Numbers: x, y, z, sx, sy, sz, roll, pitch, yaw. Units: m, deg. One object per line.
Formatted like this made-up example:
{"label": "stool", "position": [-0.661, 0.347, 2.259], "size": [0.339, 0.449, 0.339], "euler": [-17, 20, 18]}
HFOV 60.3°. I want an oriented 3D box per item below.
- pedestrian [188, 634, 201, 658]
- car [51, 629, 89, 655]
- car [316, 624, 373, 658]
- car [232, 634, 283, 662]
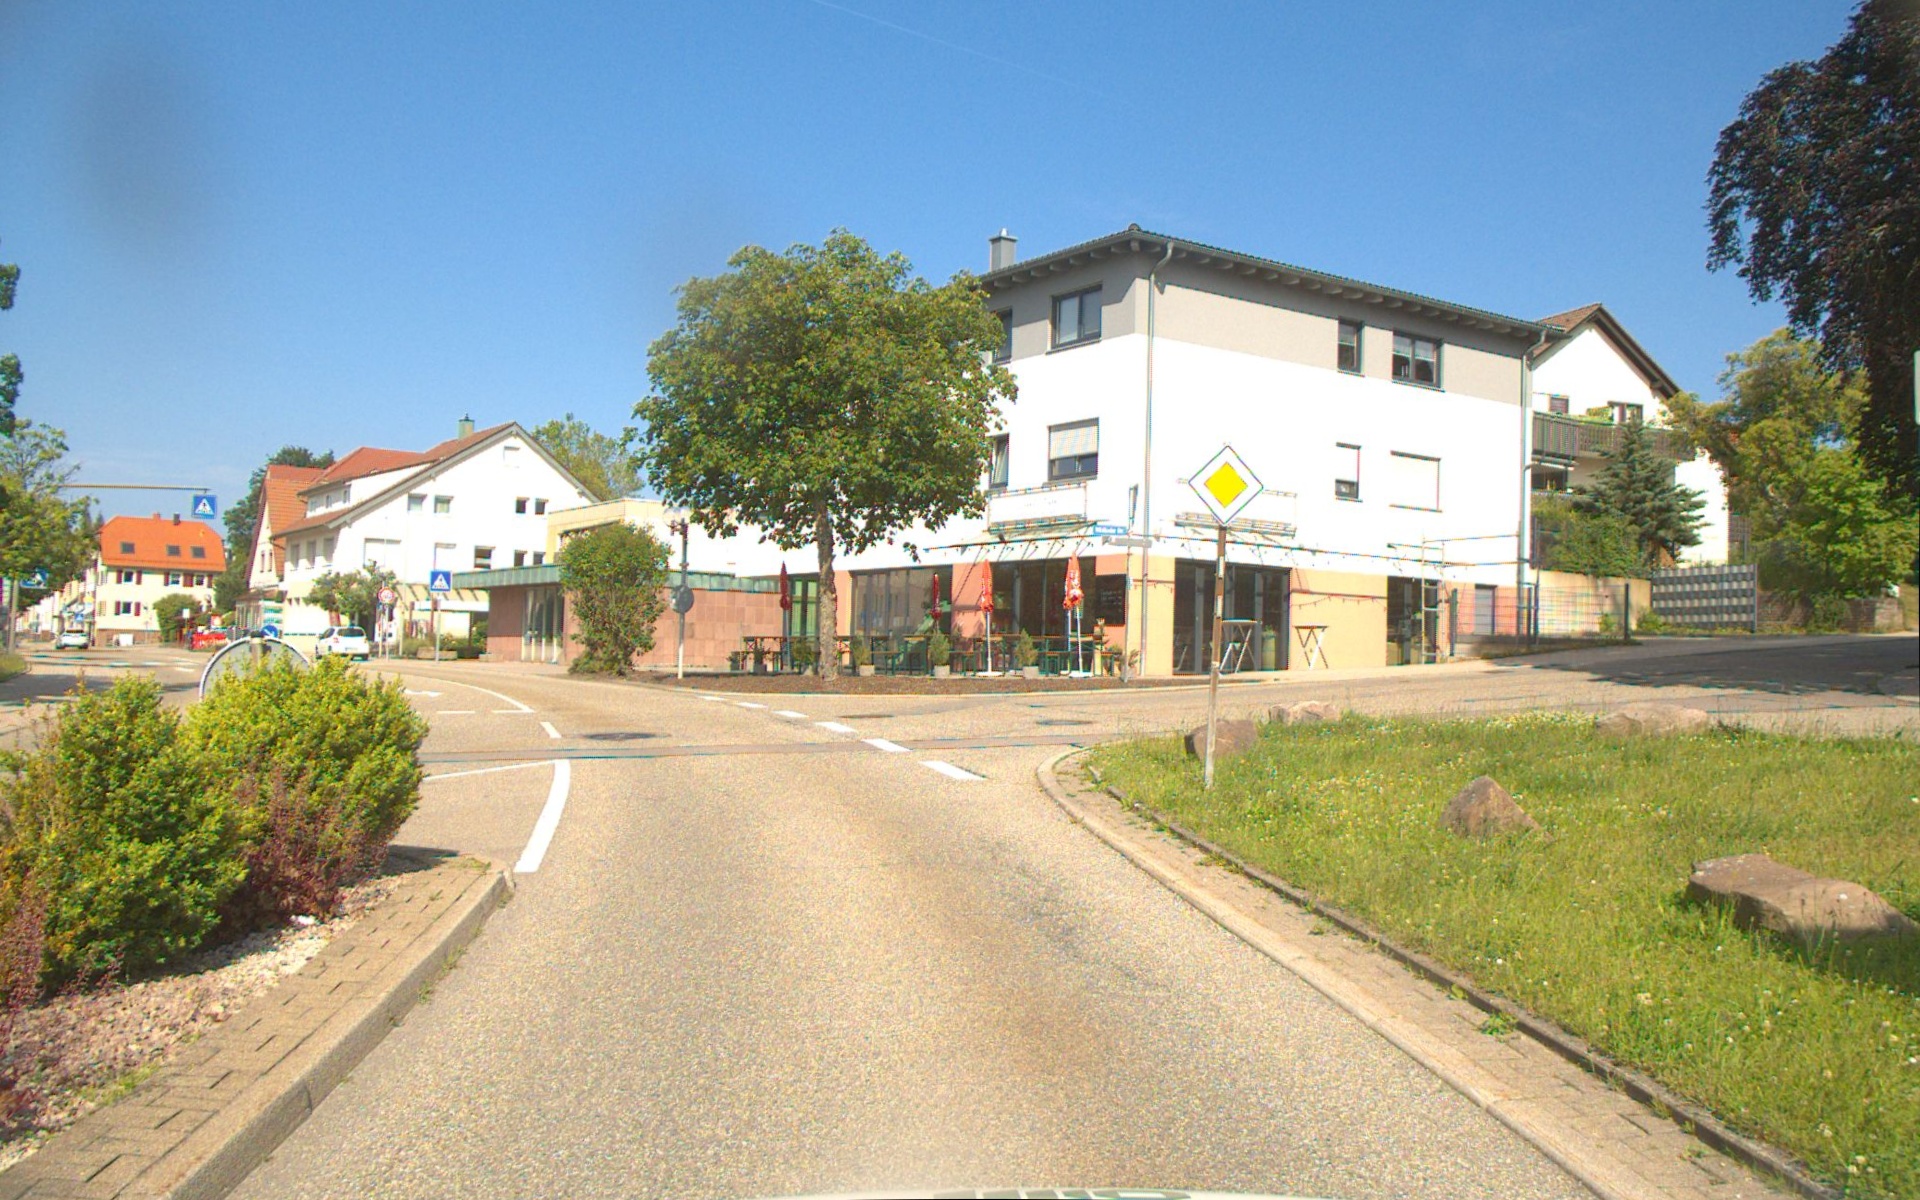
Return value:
{"label": "pedestrian", "position": [-58.729, 3.509, 126.924], "size": [0.791, 1.816, 0.970], "euler": [1, -2, -29]}
{"label": "car", "position": [-73.060, 3.466, 135.679], "size": [2.472, 2.049, 4.256], "euler": [-1, -1, -32]}
{"label": "car", "position": [-27.286, 1.825, 73.307], "size": [1.743, 1.448, 3.594], "euler": [0, -1, -31]}
{"label": "car", "position": [-37.542, 2.567, 88.392], "size": [1.623, 1.445, 3.882], "euler": [0, -1, -37]}
